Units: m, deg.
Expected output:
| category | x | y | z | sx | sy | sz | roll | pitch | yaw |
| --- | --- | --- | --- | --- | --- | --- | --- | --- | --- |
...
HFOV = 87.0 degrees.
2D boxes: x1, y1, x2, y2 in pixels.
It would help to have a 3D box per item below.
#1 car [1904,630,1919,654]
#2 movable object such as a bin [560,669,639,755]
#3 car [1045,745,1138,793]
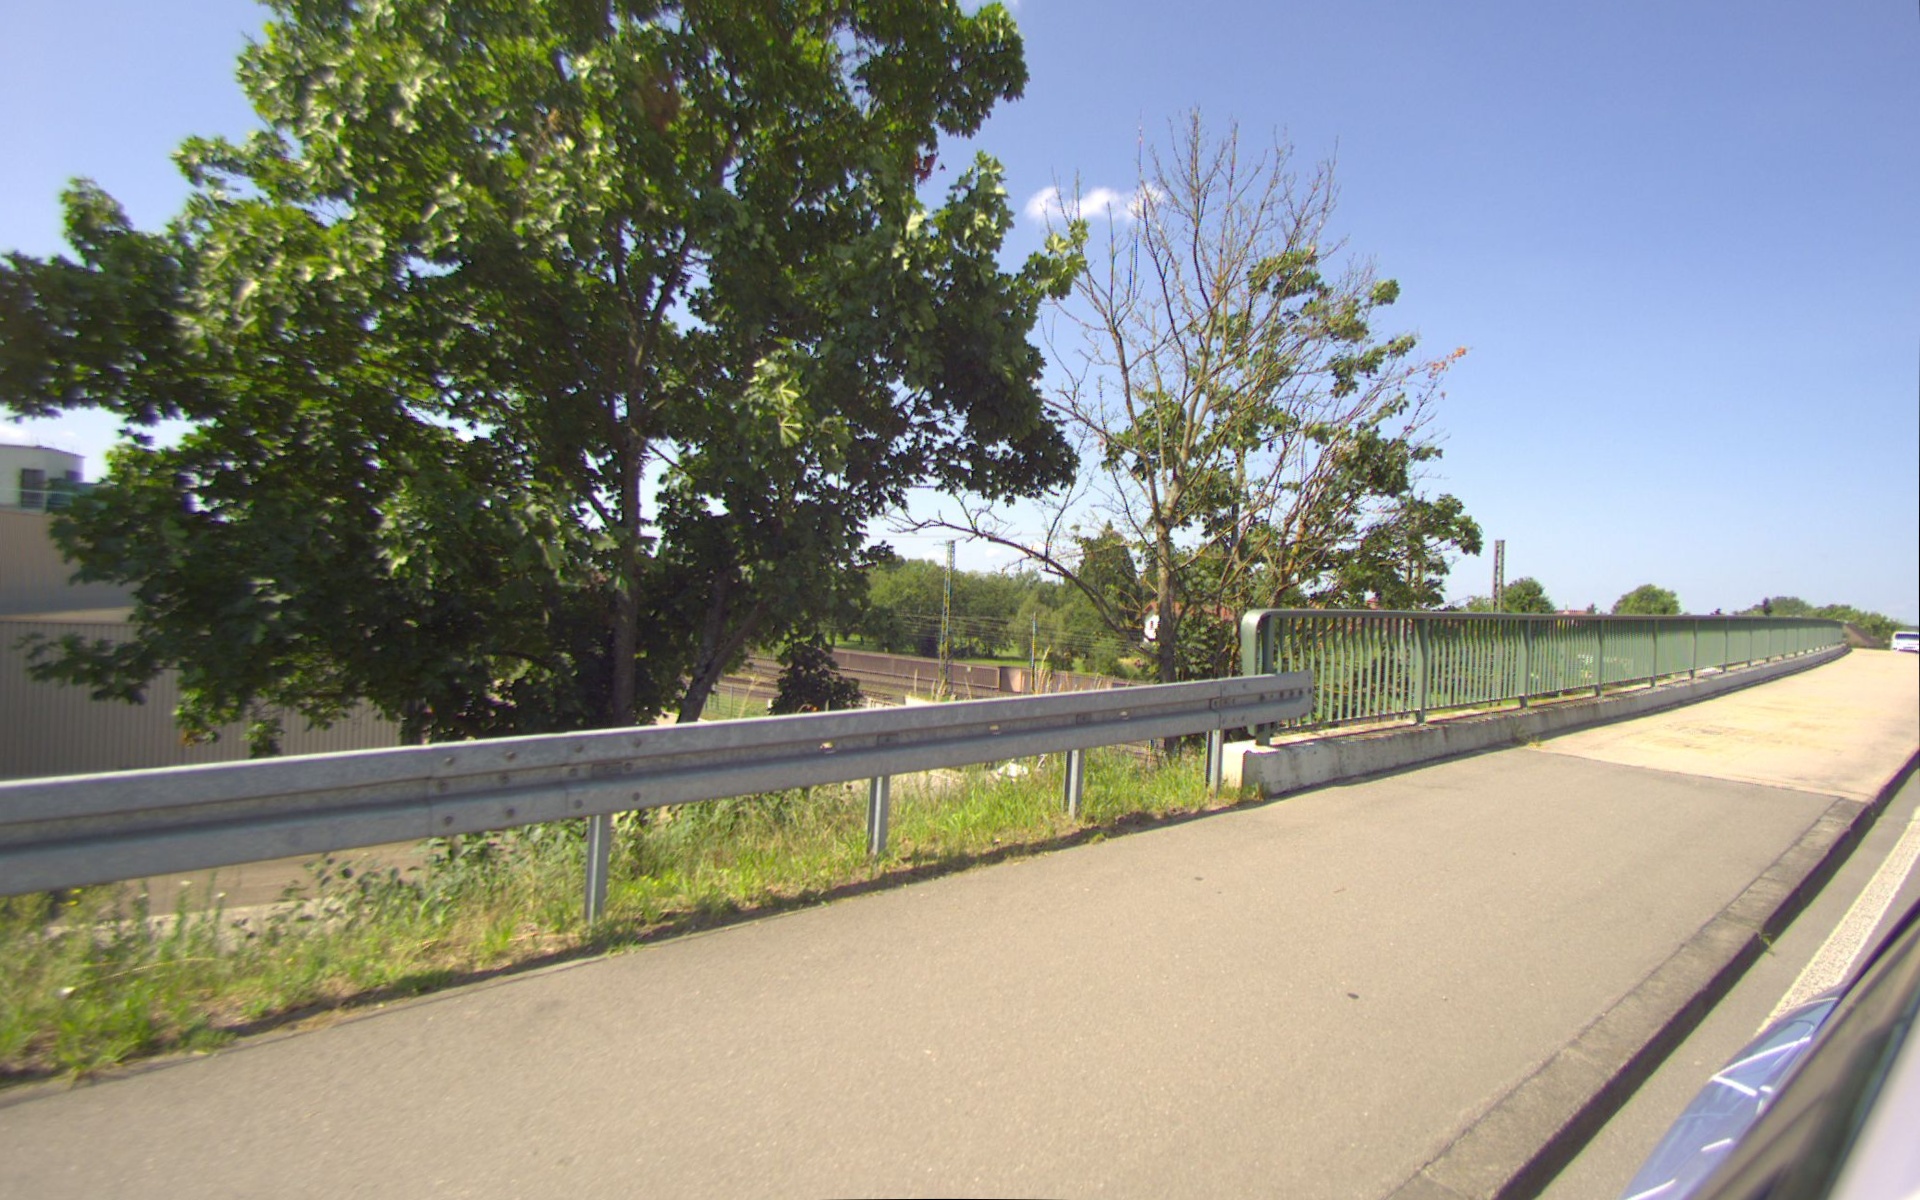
| category | x | y | z | sx | sy | sz | roll | pitch | yaw |
| --- | --- | --- | --- | --- | --- | --- | --- | --- | --- |
| car | 72.911 | 3.180 | 76.612 | 2.087 | 1.783 | 4.215 | 0 | -1 | 43 |
| movable object such as a bin | -17.296 | 5.277 | 48.576 | 3.180 | 3.332 | 6.236 | 4 | -1 | -20 |
| car | 5.895 | 7.480 | 45.115 | 1.993 | 1.616 | 4.176 | -4 | -4 | 44 |
